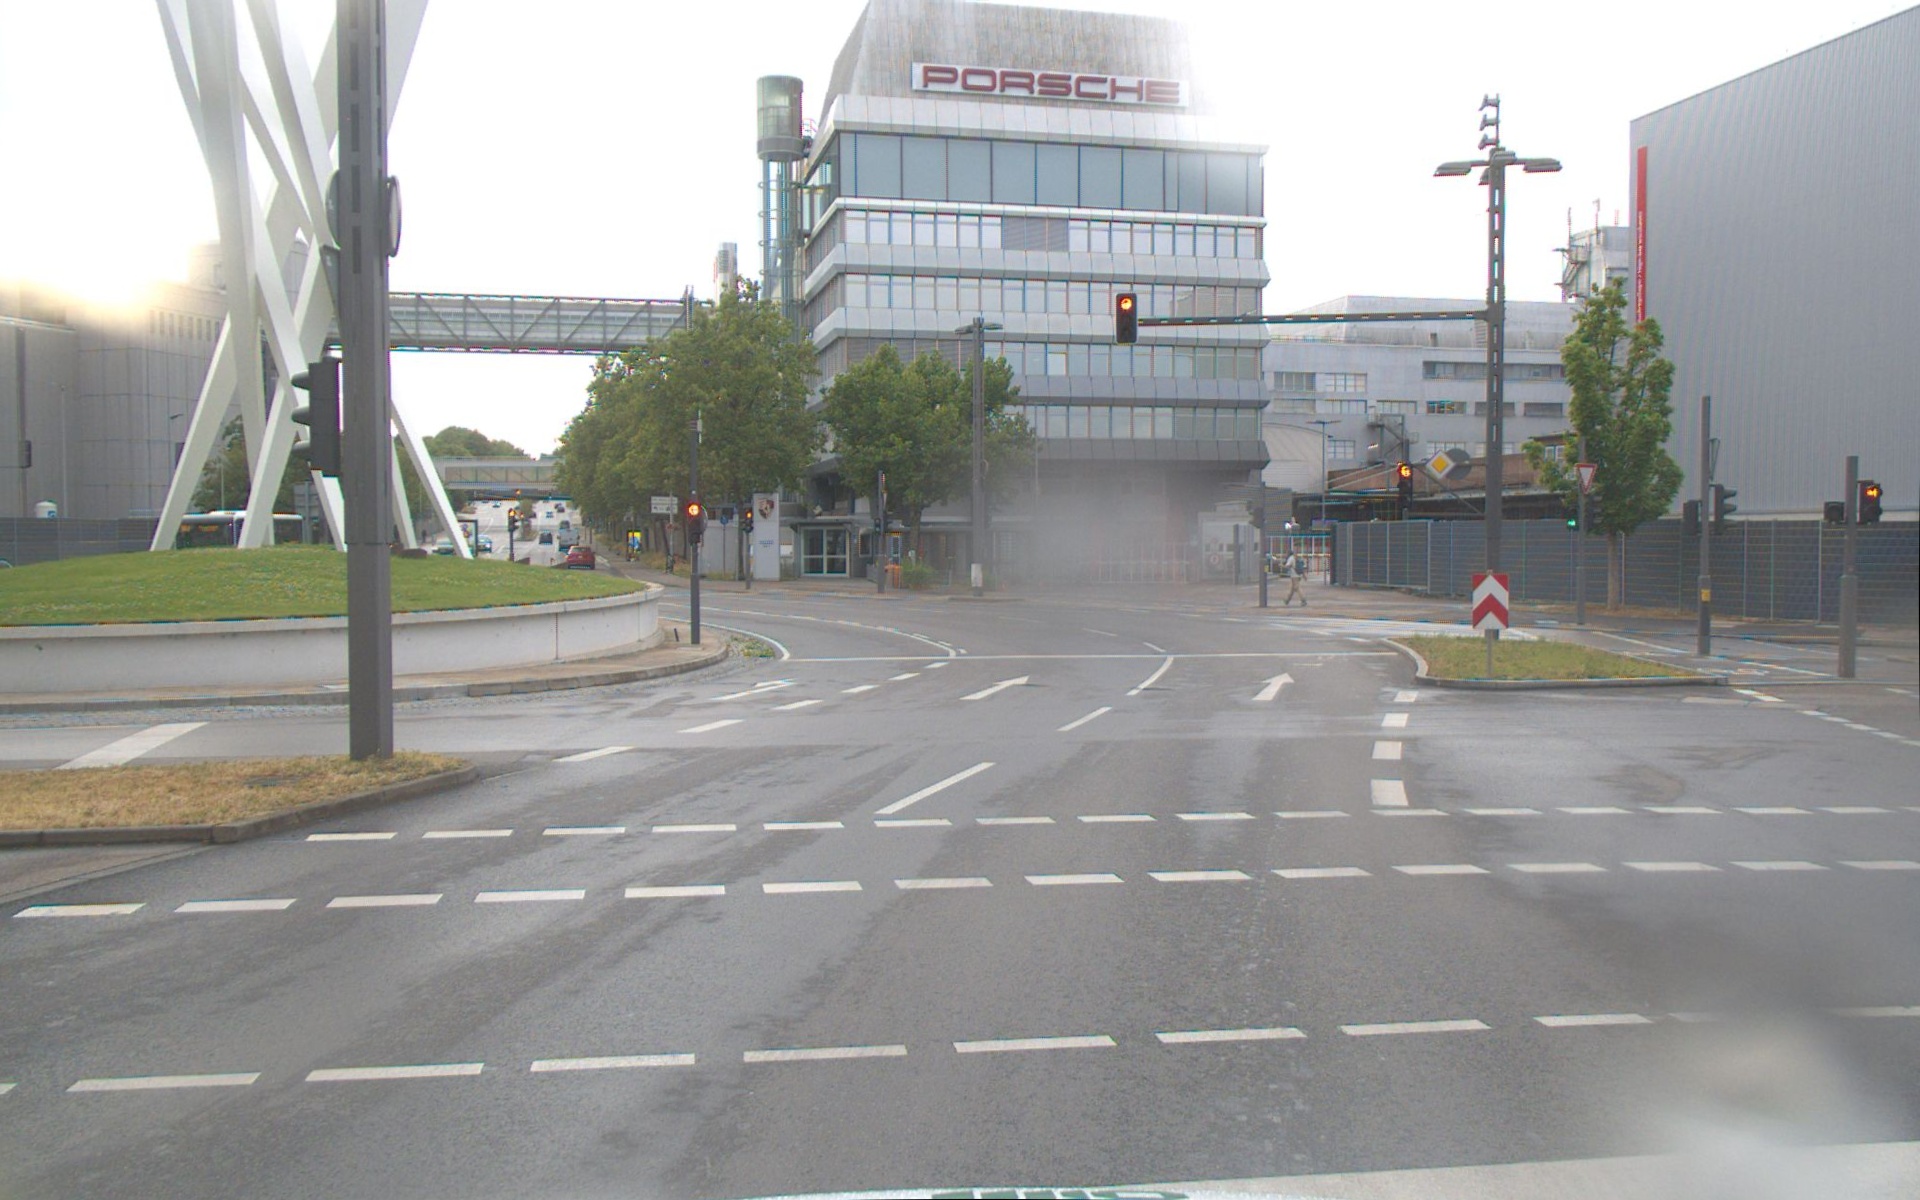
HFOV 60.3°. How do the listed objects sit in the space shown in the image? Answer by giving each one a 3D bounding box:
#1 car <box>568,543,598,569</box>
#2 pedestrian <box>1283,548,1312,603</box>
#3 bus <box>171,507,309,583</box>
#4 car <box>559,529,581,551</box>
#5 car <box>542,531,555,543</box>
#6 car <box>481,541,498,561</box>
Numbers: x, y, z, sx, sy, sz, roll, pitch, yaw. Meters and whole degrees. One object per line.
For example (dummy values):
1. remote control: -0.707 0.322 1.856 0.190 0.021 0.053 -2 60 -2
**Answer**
1. car: -23.667 -2.740 103.715 1.743 1.490 3.718 0 0 -15
2. pedestrian: 10.268 -0.739 50.284 0.791 1.639 0.770 -1 -1 16
3. bus: -33.448 -2.433 77.459 2.619 3.257 12.646 0 1 -8
4. car: -41.607 -6.359 176.428 2.195 2.145 4.935 0 -1 -14
5. car: -52.340 -7.992 210.285 1.531 1.311 3.400 0 0 -15
6. car: -46.091 -4.784 162.093 1.600 1.848 3.718 0 1 -15
